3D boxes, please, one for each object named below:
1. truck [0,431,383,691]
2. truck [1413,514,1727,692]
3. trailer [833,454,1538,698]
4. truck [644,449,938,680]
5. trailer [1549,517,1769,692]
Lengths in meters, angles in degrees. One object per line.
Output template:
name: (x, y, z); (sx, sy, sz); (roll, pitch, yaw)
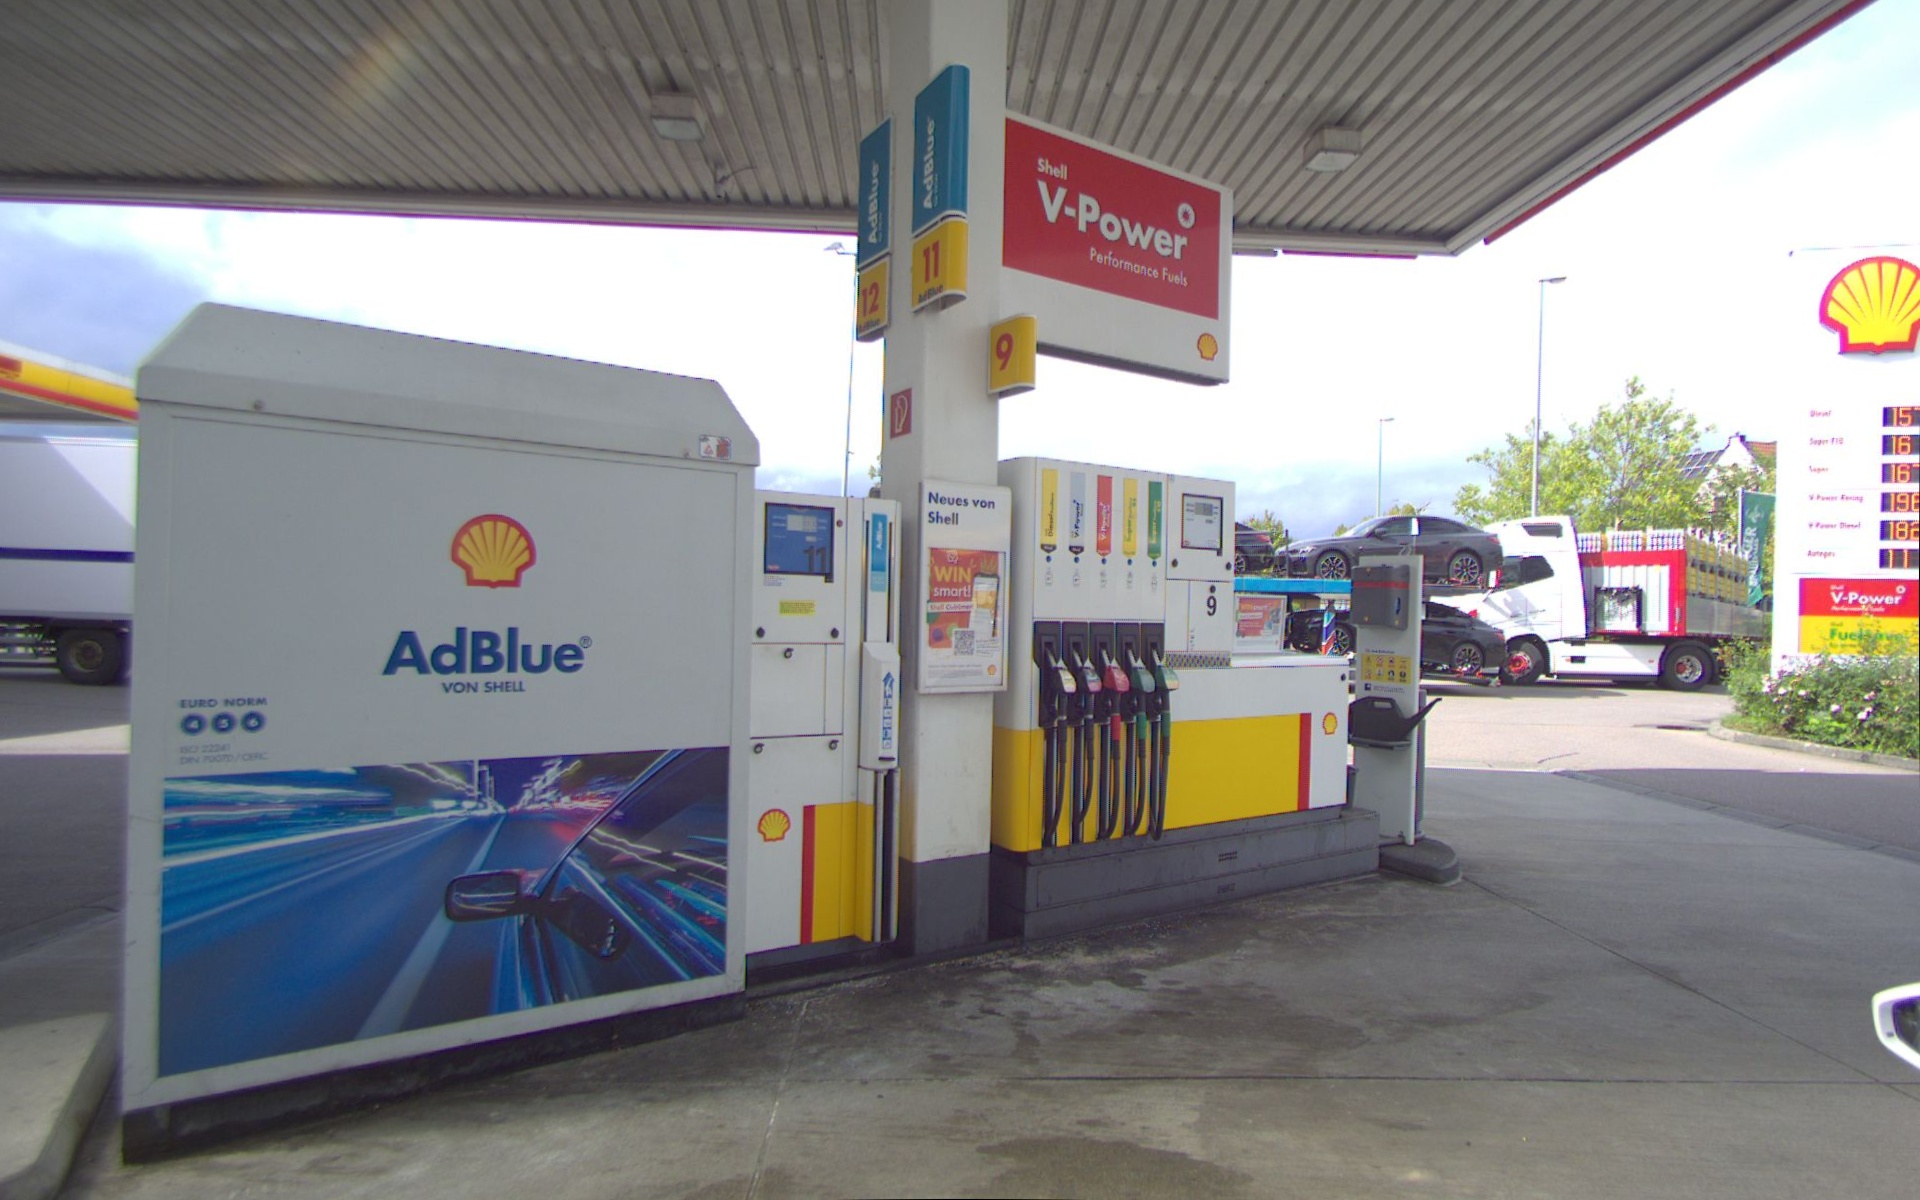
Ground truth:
truck: (-17.273, -0.739, 17.503); (12.654, 4.092, 2.534); (2, 0, -3)
truck: (14.511, 0.069, 24.315); (5.799, 3.897, 2.743); (2, 0, 4)
trailer: (4.554, -0.470, 21.588); (14.077, 4.481, 2.746); (2, 0, 0)
truck: (-3.422, -0.705, 21.549); (5.713, 4.479, 2.750); (2, 0, 0)
trailer: (19.437, 0.235, 27.370); (2.703, 3.826, 12.632); (2, 0, 45)
